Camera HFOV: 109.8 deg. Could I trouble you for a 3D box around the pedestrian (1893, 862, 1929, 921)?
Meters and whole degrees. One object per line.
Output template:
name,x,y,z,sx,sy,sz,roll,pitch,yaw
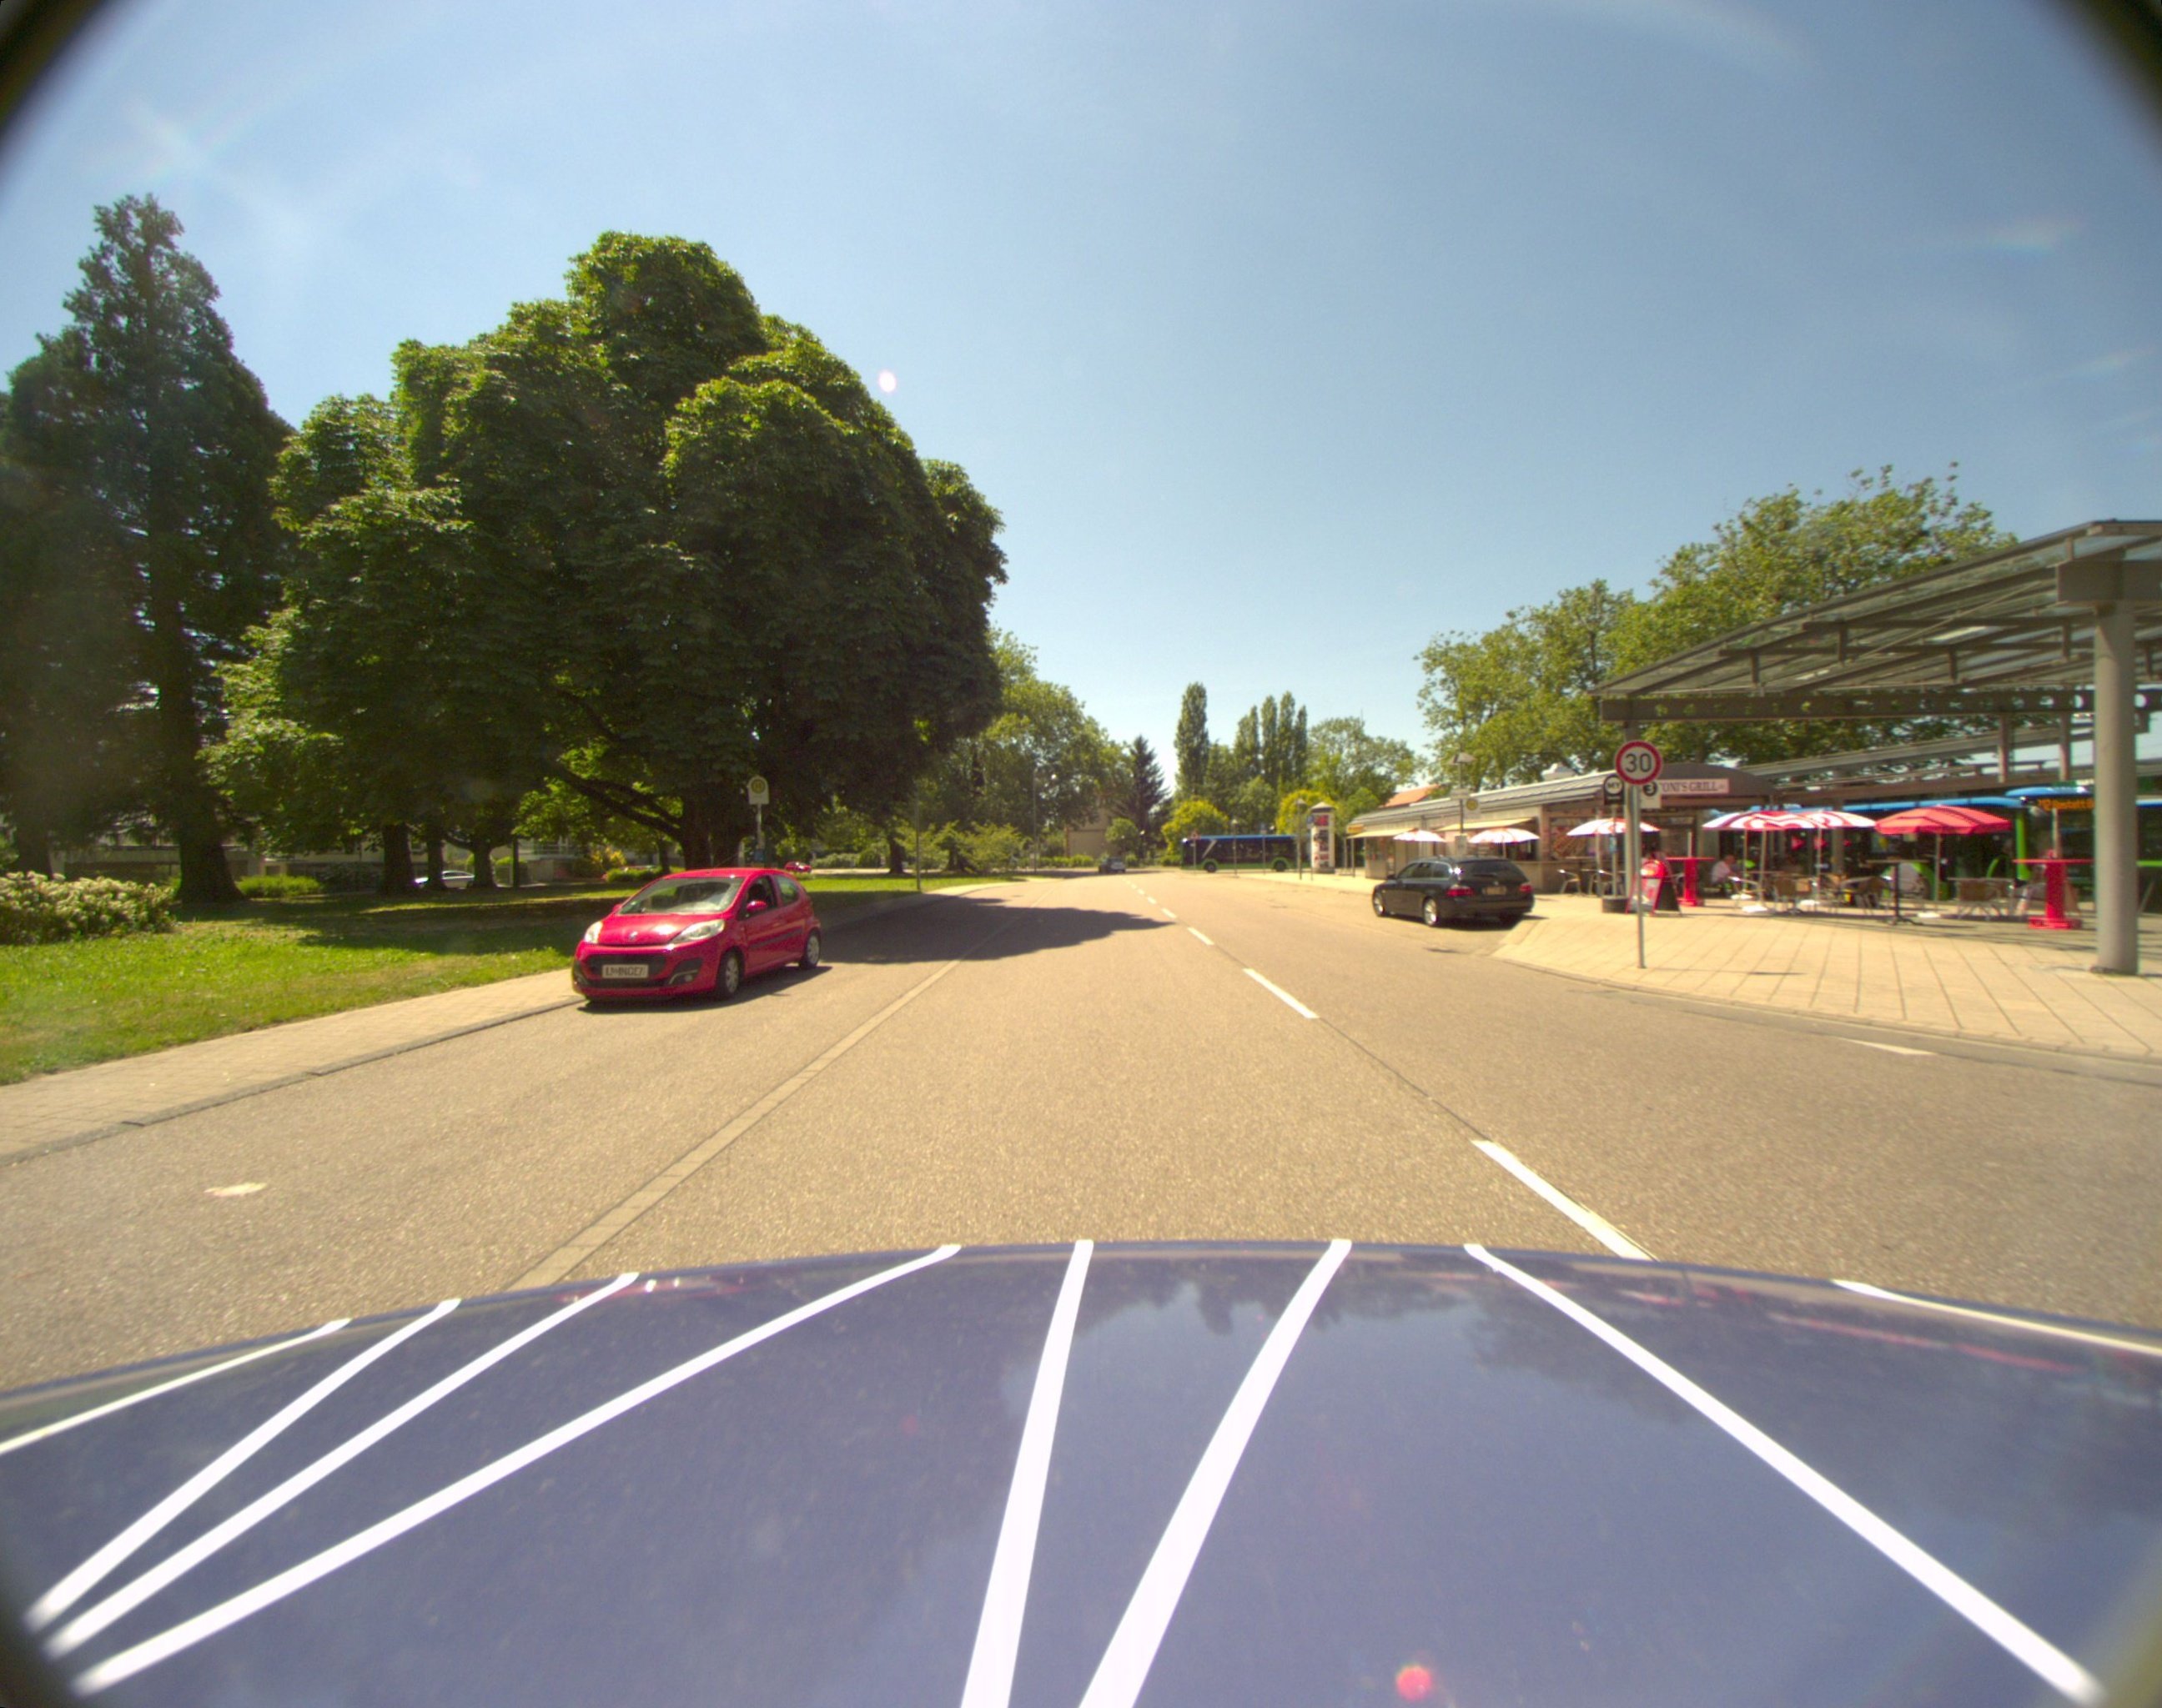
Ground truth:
pedestrian,16.254,0.731,14.878,0.371,1.116,0.427,1,2,35

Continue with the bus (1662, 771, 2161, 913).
bus,23.637,-0.257,23.194,2.972,3.214,11.848,-1,0,2

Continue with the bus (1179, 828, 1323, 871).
bus,14.976,-0.357,67.332,12.199,3.506,2.171,-1,1,15

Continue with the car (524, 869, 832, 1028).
car,-4.602,0.977,9.378,1.723,1.470,3.706,-1,0,2

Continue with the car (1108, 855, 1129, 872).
car,3.444,0.870,70.121,1.819,1.435,4.159,1,0,1

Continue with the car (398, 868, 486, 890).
car,-45.946,1.752,54.766,1.667,1.280,4.720,0,1,16

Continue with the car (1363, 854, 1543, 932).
car,8.126,0.760,17.184,1.723,1.470,4.785,-1,0,0

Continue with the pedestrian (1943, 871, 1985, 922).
pedestrian,16.749,0.794,14.418,0.372,0.918,0.425,-2,3,-28

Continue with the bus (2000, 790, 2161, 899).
bus,31.198,-0.283,17.188,2.874,3.019,15.520,-1,0,4

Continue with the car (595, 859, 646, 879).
car,-42.288,1.370,69.873,1.700,1.591,4.002,0,2,11
